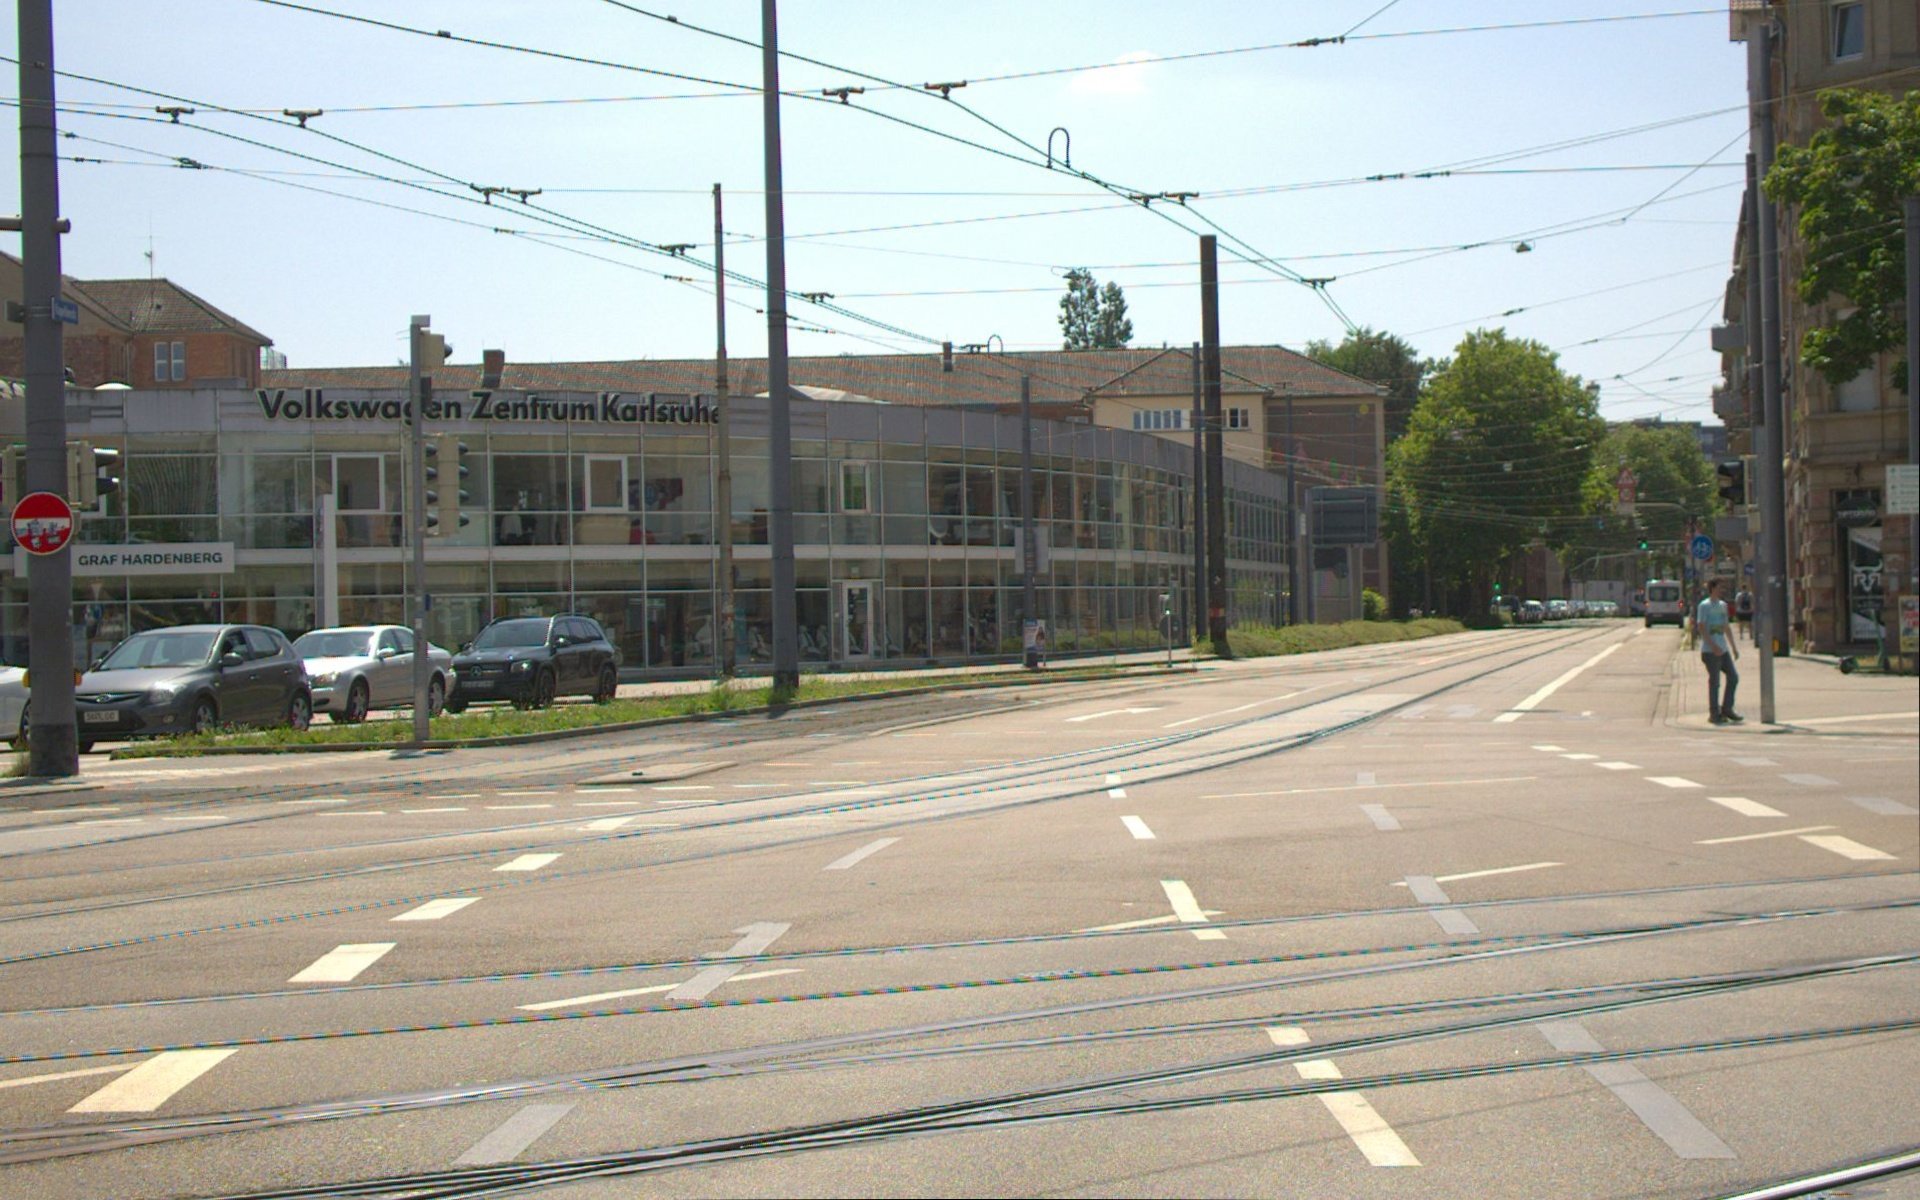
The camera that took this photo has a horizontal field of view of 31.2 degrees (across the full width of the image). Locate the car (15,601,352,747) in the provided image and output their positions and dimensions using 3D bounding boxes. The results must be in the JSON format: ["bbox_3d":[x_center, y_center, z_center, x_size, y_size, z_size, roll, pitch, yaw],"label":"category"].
[{"bbox_3d":[-9.321,0.855,41.726,1.995,1.632,4.843,-1,0,14],"label":"car"}]

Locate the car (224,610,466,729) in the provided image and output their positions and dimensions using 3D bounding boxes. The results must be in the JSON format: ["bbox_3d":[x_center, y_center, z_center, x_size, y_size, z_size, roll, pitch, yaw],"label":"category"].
[{"bbox_3d":[-9.537,1.057,53.693,1.995,1.733,4.540,-1,0,14],"label":"car"}]

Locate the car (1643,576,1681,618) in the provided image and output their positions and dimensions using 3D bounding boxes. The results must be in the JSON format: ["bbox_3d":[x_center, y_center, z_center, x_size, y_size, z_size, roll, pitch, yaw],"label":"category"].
[{"bbox_3d":[37.914,-0.150,185.642,1.994,2.174,4.366,1,-1,12],"label":"car"}]

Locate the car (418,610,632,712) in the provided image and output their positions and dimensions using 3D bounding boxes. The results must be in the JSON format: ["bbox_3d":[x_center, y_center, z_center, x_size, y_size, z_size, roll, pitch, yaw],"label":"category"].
[{"bbox_3d":[-7.586,1.037,60.439,2.080,1.677,4.843,-1,0,14],"label":"car"}]

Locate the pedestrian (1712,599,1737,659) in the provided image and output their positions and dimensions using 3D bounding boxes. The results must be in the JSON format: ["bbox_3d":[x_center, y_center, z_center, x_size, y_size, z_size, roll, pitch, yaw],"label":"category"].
[{"bbox_3d":[25.841,0.978,116.251,0.768,2.007,0.663,1,-1,10],"label":"pedestrian"}]

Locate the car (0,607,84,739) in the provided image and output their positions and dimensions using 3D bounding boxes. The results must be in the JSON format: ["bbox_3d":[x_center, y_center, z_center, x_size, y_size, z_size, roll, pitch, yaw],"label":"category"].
[{"bbox_3d":[-12.556,0.903,41.283,2.077,1.575,4.844,-1,0,11],"label":"car"}]

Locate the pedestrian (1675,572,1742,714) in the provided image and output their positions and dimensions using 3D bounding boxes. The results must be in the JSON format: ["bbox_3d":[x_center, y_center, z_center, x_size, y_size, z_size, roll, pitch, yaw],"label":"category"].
[{"bbox_3d":[9.042,0.516,41.527,0.461,1.702,0.640,-1,0,-25],"label":"pedestrian"}]

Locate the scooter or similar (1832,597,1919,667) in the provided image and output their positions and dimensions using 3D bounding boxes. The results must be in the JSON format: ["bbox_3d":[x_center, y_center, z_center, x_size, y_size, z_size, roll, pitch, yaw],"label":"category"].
[{"bbox_3d":[16.091,0.557,60.195,1.787,1.177,0.599,-1,0,-37],"label":"scooter or similar"}]
